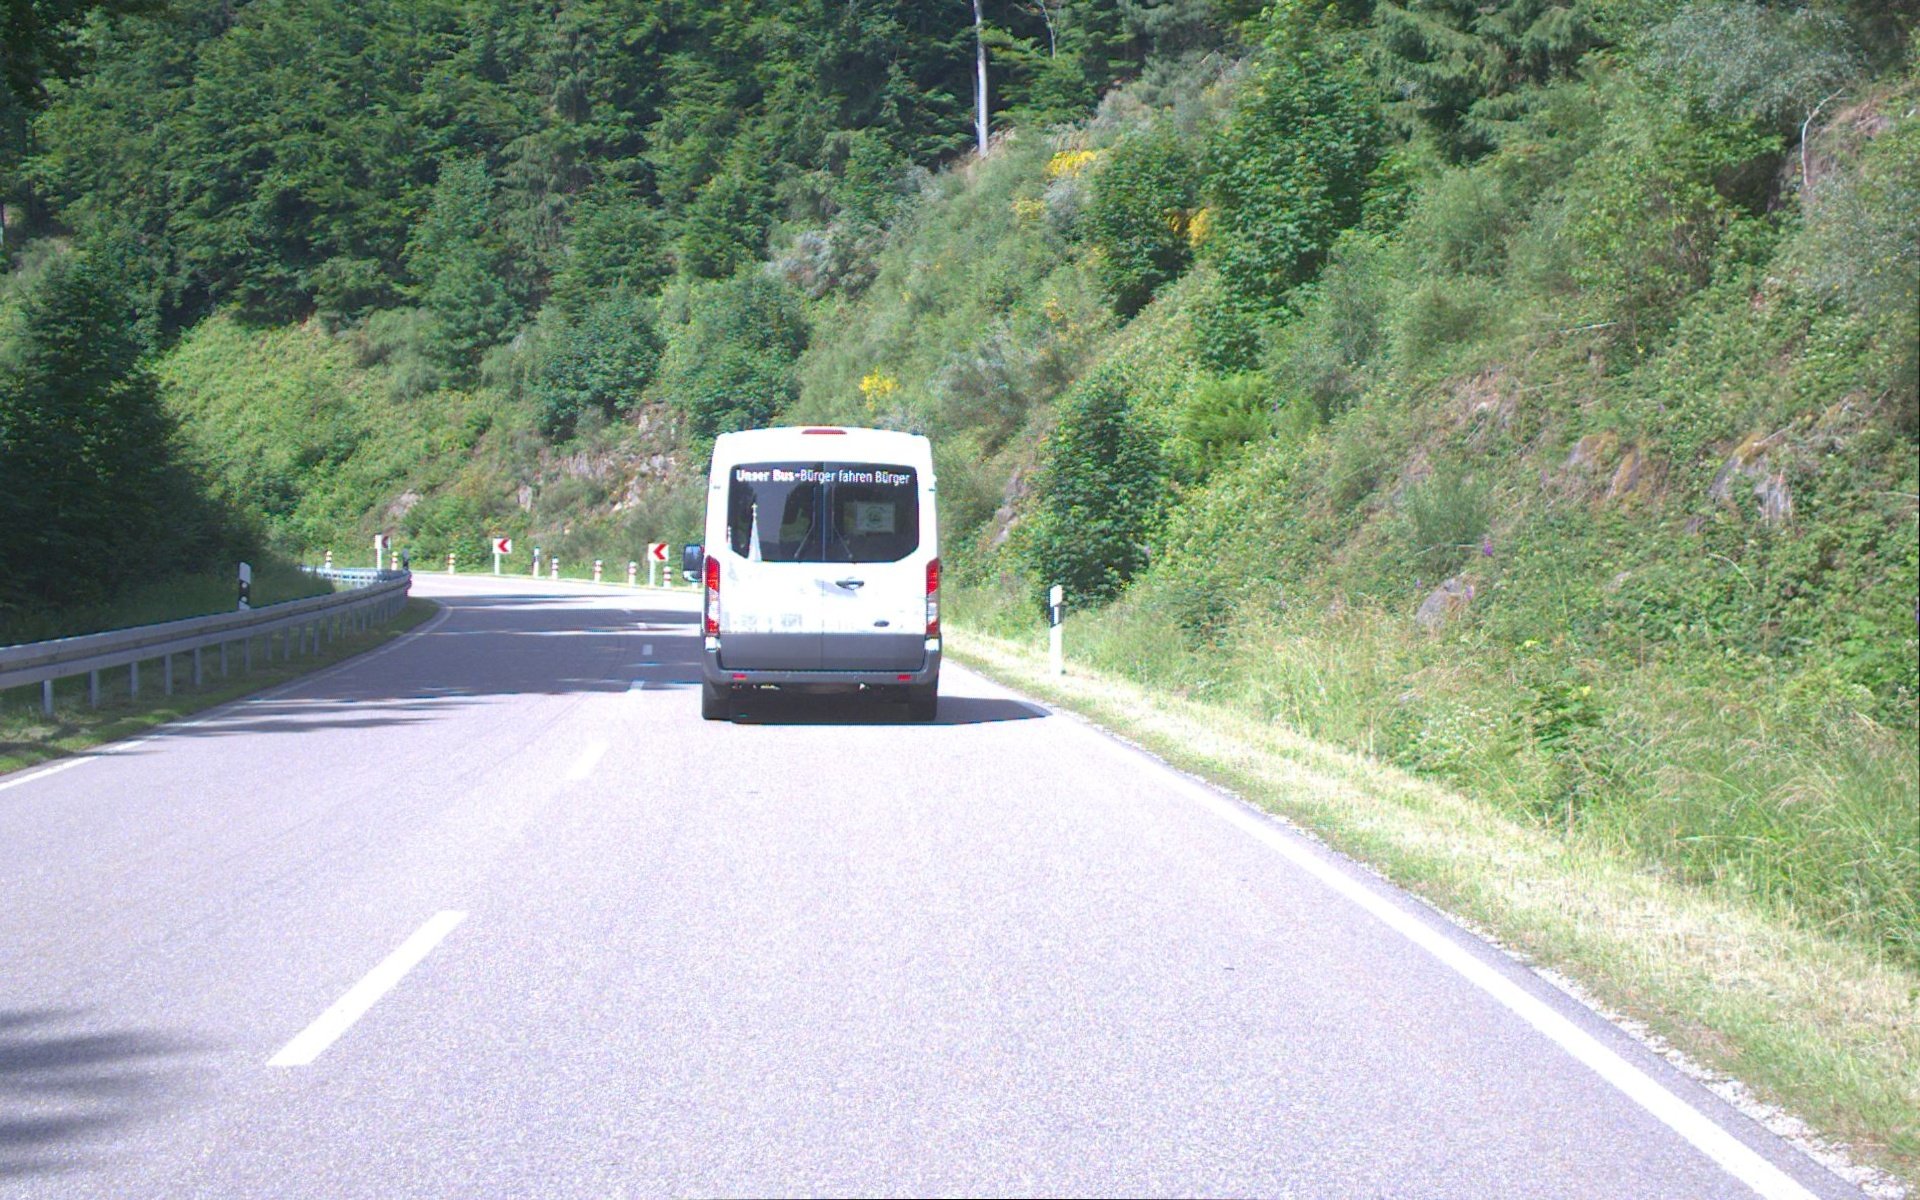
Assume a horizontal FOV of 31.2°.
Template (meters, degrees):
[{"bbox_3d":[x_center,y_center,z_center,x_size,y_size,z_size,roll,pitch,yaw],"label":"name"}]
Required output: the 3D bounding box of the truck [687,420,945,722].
[{"bbox_3d":[-1.330,-0.262,30.422,2.083,2.451,4.876,0,1,-4],"label":"truck"}]
